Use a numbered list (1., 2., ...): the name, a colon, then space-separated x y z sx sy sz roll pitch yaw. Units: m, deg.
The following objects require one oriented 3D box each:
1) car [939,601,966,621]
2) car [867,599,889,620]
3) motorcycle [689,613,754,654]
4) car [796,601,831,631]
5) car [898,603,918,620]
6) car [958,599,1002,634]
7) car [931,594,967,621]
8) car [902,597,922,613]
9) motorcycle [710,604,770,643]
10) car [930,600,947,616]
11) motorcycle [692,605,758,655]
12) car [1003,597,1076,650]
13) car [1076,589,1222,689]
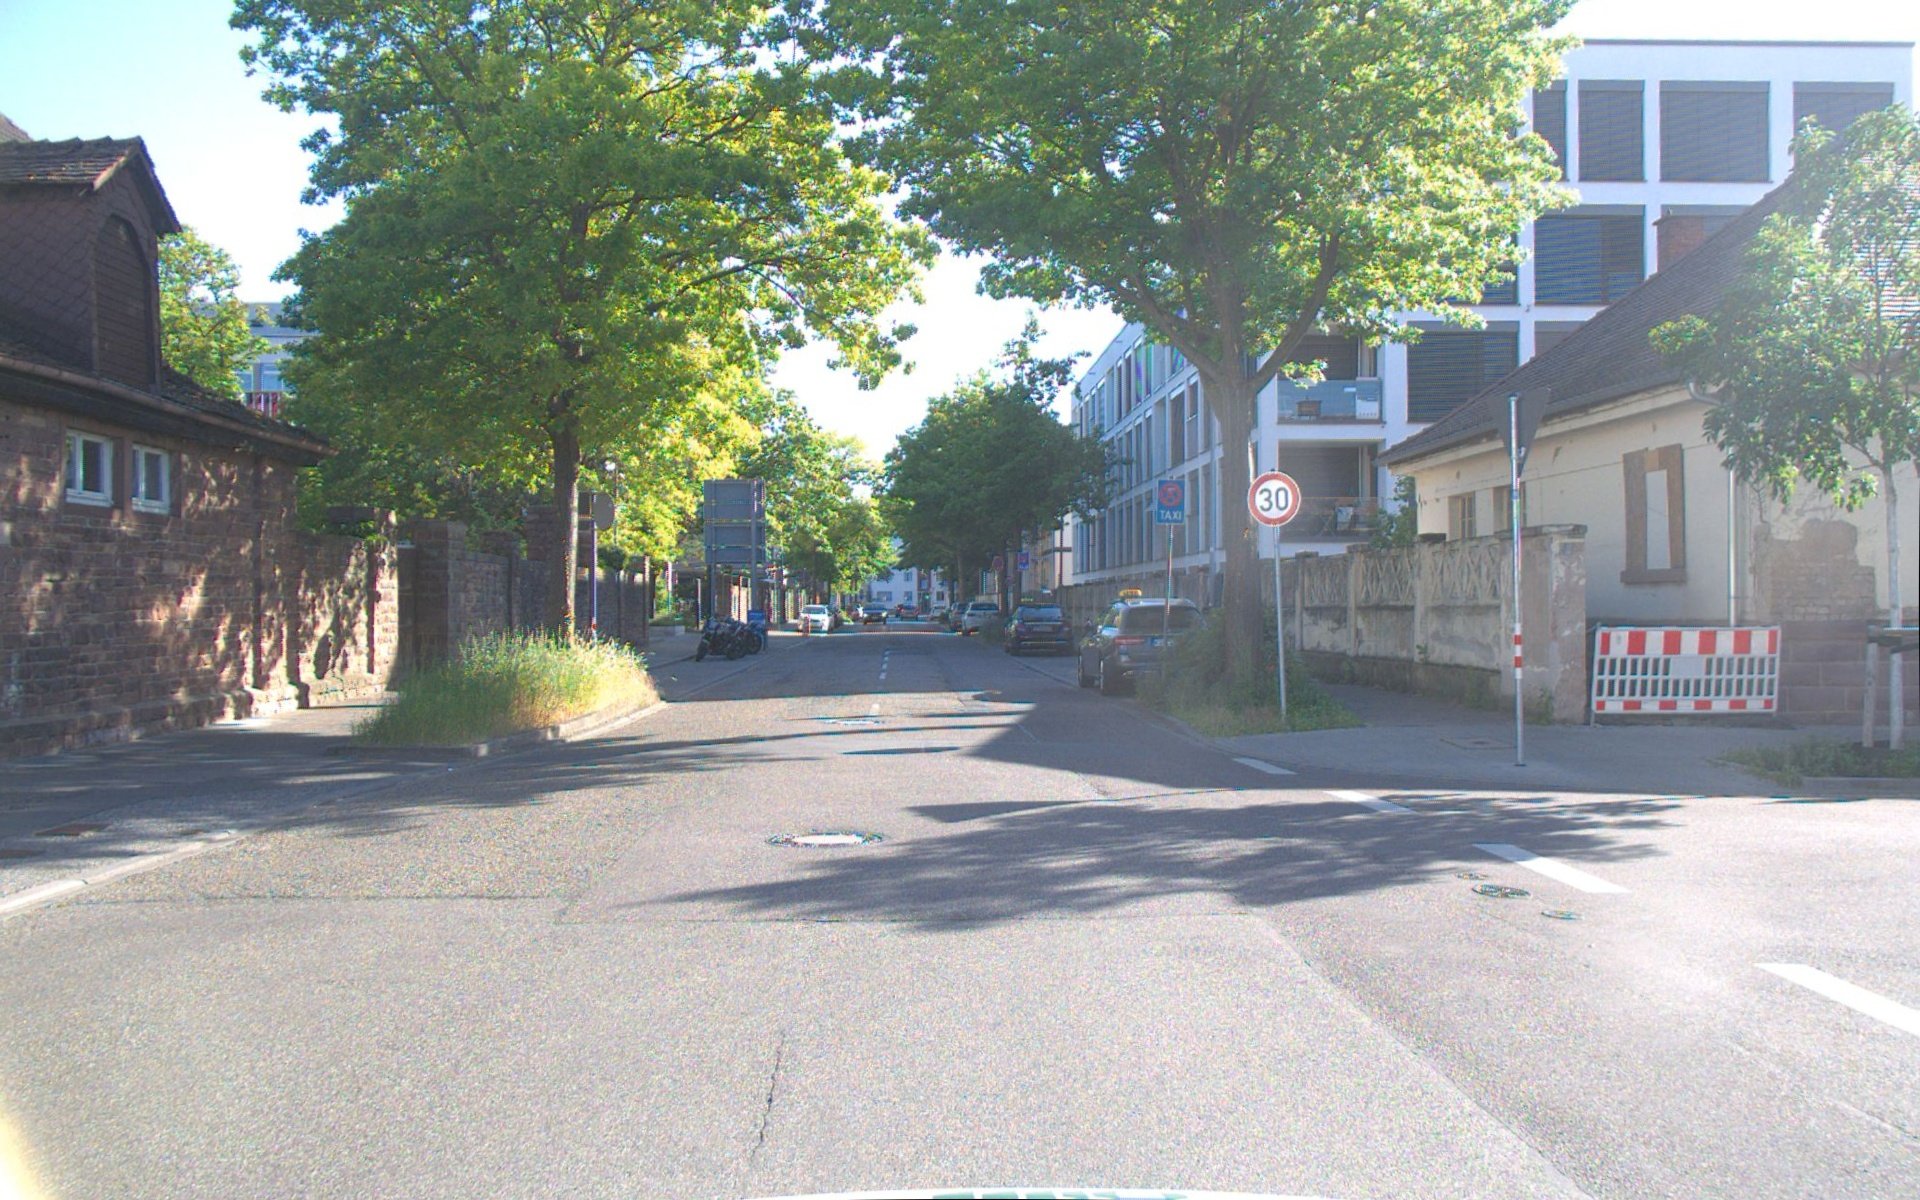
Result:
1. car: -0.557 0.816 124.106 1.953 1.450 3.835 0 0 -1
2. car: -6.173 0.732 124.742 1.620 1.557 3.998 0 0 -2
3. motorcycle: -6.587 0.914 45.757 0.565 1.093 2.117 -1 0 31
4. car: -7.869 0.843 88.872 1.732 1.513 3.997 -1 0 -3
5. car: -4.905 1.051 155.660 1.732 1.575 4.062 -1 0 -4
6. car: 0.916 0.754 77.101 1.911 1.606 3.835 0 0 -1
7. car: -0.637 0.404 93.191 1.953 1.491 3.835 0 0 -1
8. car: -4.539 0.447 155.755 1.851 1.424 3.835 -1 0 -1
9. motorcycle: -6.461 0.683 48.711 0.565 1.093 2.117 -1 0 31
10. car: -2.036 0.755 158.165 1.553 1.424 3.835 0 0 -1
11. motorcycle: -6.315 0.797 44.570 0.565 1.298 2.117 -1 0 31
12. car: 2.281 0.650 48.416 1.732 1.465 3.997 -1 0 -3
13. car: 3.001 0.588 27.181 1.669 1.494 4.786 0 0 -2
